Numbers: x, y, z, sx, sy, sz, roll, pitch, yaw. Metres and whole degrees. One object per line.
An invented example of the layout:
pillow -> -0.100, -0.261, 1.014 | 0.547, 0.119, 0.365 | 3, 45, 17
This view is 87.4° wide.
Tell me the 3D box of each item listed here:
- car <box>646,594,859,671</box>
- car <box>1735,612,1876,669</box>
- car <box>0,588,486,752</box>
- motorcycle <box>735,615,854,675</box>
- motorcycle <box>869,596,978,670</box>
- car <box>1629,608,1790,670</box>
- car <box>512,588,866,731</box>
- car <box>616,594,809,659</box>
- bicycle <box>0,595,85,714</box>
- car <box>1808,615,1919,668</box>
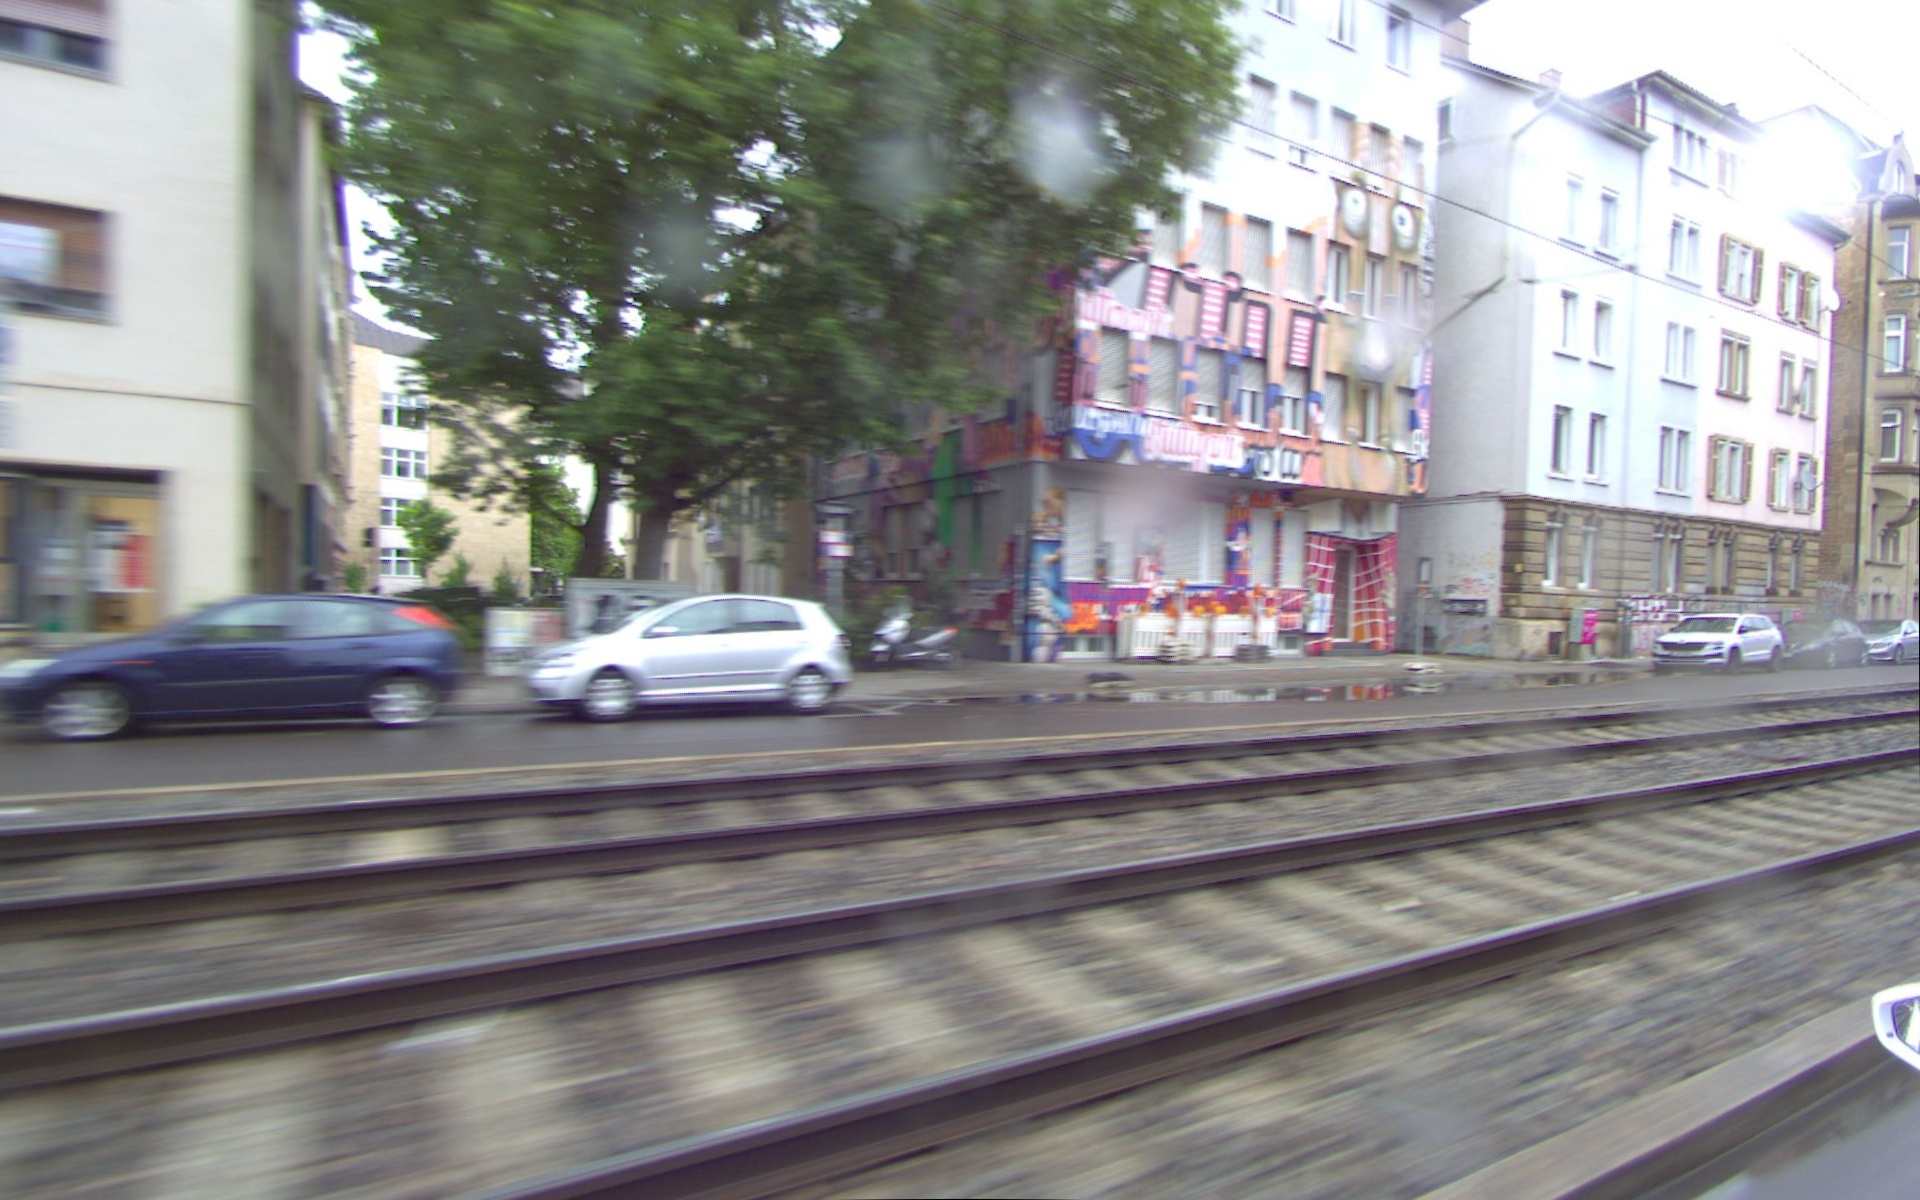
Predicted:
car -> -4.330, 0.655, 21.076 | 3.955, 1.474, 1.983 | 1, 0, -31
car -> 25.561, 1.202, 30.338 | 4.160, 1.539, 1.983 | 1, 1, -31
car -> -7.525, 0.686, 10.895 | 4.171, 1.488, 1.735 | 1, -1, -31
motorcycle -> -3.071, 0.833, 18.732 | 2.096, 1.047, 0.635 | 1, 1, -32
motorcycle -> -0.705, 0.655, 19.921 | 2.096, 1.398, 0.635 | 1, 1, -32
car -> 20.547, 1.046, 27.494 | 4.384, 1.539, 1.983 | 1, 1, -31
car -> -3.494, 0.712, 13.156 | 4.171, 1.591, 1.713 | 1, 1, -31
car -> -5.718, 0.597, 23.283 | 3.955, 1.383, 1.983 | 1, 0, -31
bicycle -> -10.755, 0.559, 10.484 | 2.382, 1.243, 0.586 | 2, 1, -38
car -> 30.259, 1.349, 33.133 | 4.934, 1.539, 1.983 | 1, 1, -31
